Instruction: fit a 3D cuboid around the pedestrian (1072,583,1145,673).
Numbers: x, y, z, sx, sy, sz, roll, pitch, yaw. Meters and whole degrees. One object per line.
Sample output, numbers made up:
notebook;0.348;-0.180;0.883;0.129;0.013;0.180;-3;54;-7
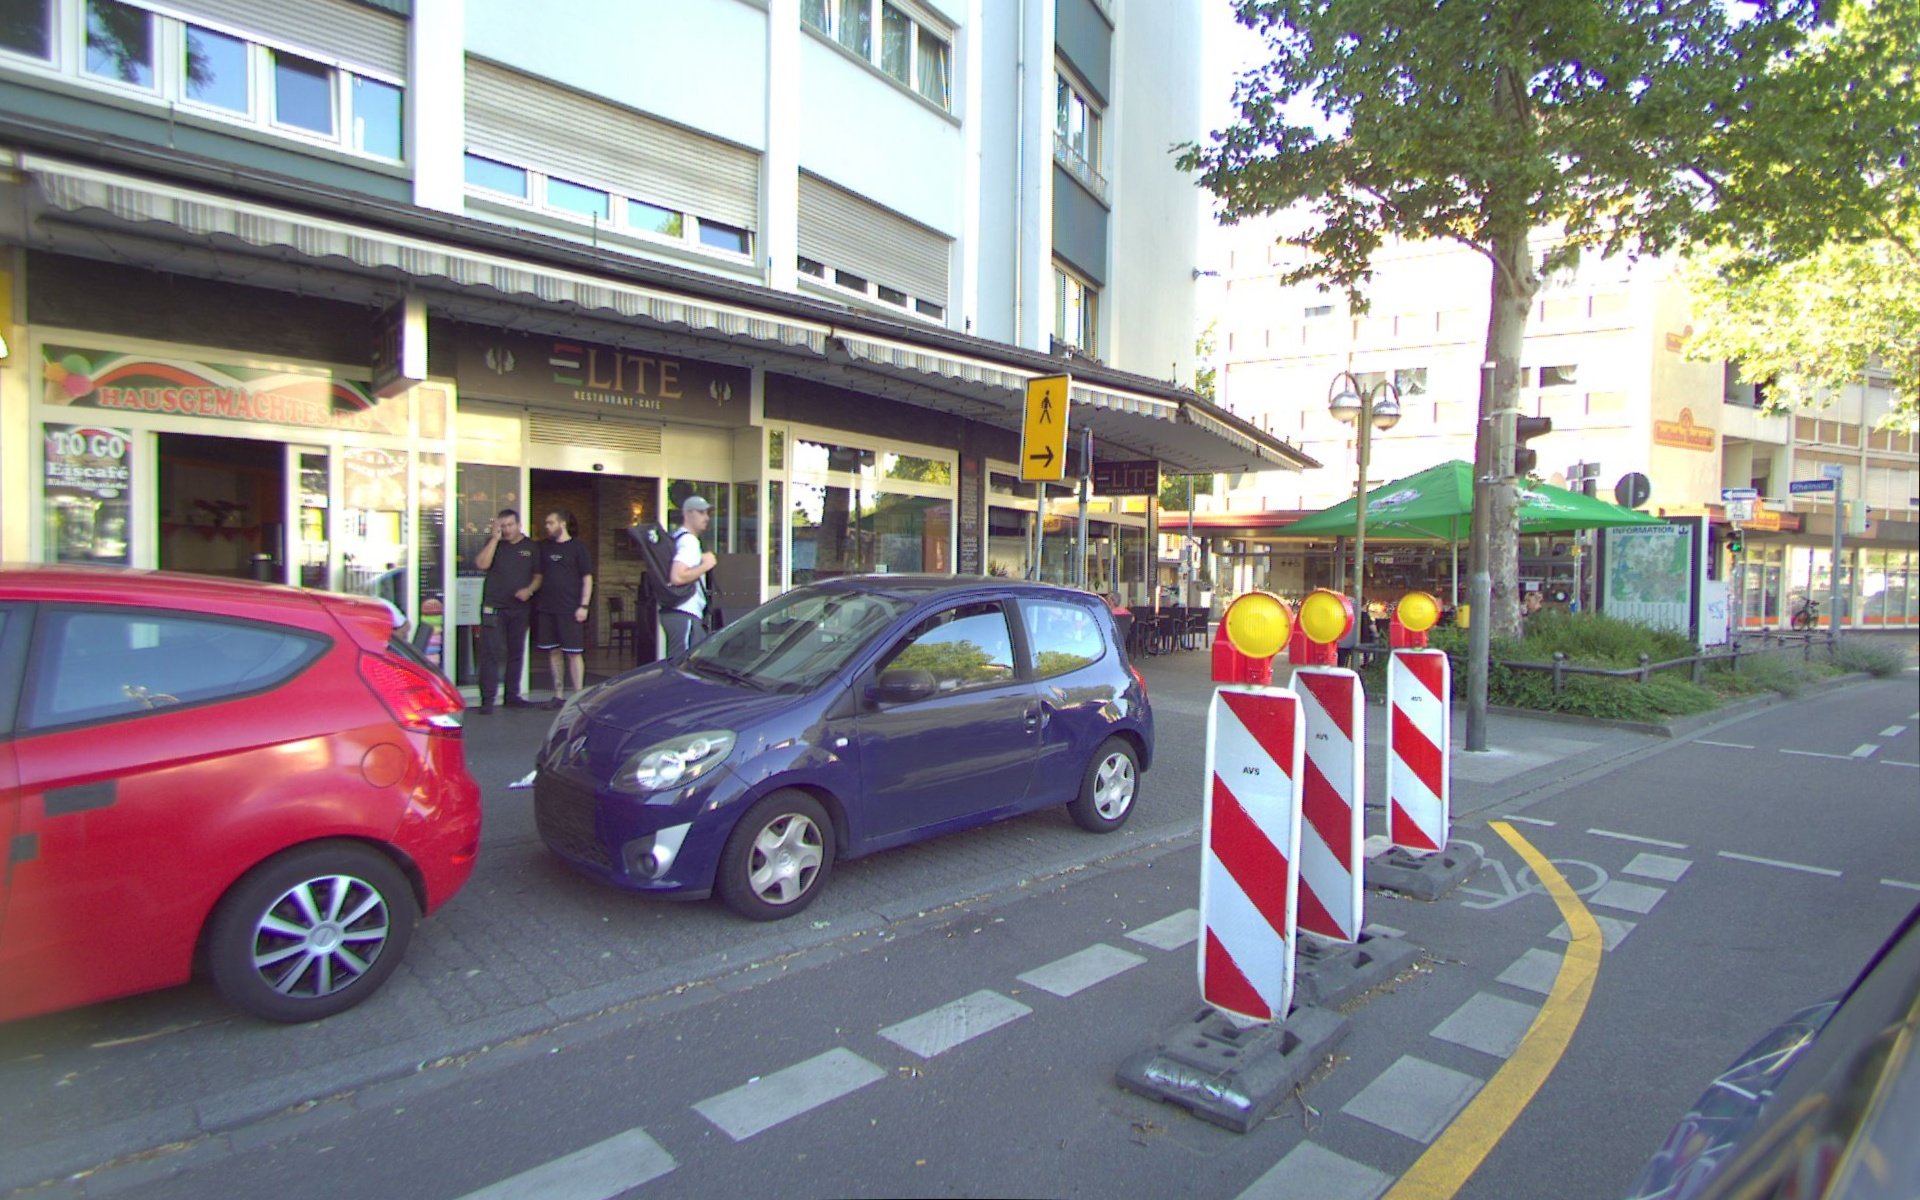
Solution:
pedestrian;2.075;0.376;14.216;0.685;1.207;0.881;0;1;-18

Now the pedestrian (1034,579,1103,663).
pedestrian;1.616;0.298;15.127;0.776;1.207;0.648;0;1;-34

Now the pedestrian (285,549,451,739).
pedestrian;-4.637;0.295;7.916;0.937;1.352;1.069;0;2;-42

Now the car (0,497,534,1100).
car;-3.521;0.481;3.006;3.761;1.614;1.784;-1;5;-45

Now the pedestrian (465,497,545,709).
pedestrian;-4.012;0.008;8.919;0.547;1.800;0.395;-1;4;-43

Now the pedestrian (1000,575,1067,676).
pedestrian;0.987;0.330;13.707;0.685;1.323;0.793;1;1;-13

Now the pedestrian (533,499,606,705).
pedestrian;-3.505;0.013;9.105;0.545;1.803;0.397;1;3;-11

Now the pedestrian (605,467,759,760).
pedestrian;-2.028;0.078;7.391;0.874;1.983;0.648;0;1;-41

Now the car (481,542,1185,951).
car;-0.528;0.508;5.699;3.551;1.485;1.769;-1;5;-44
